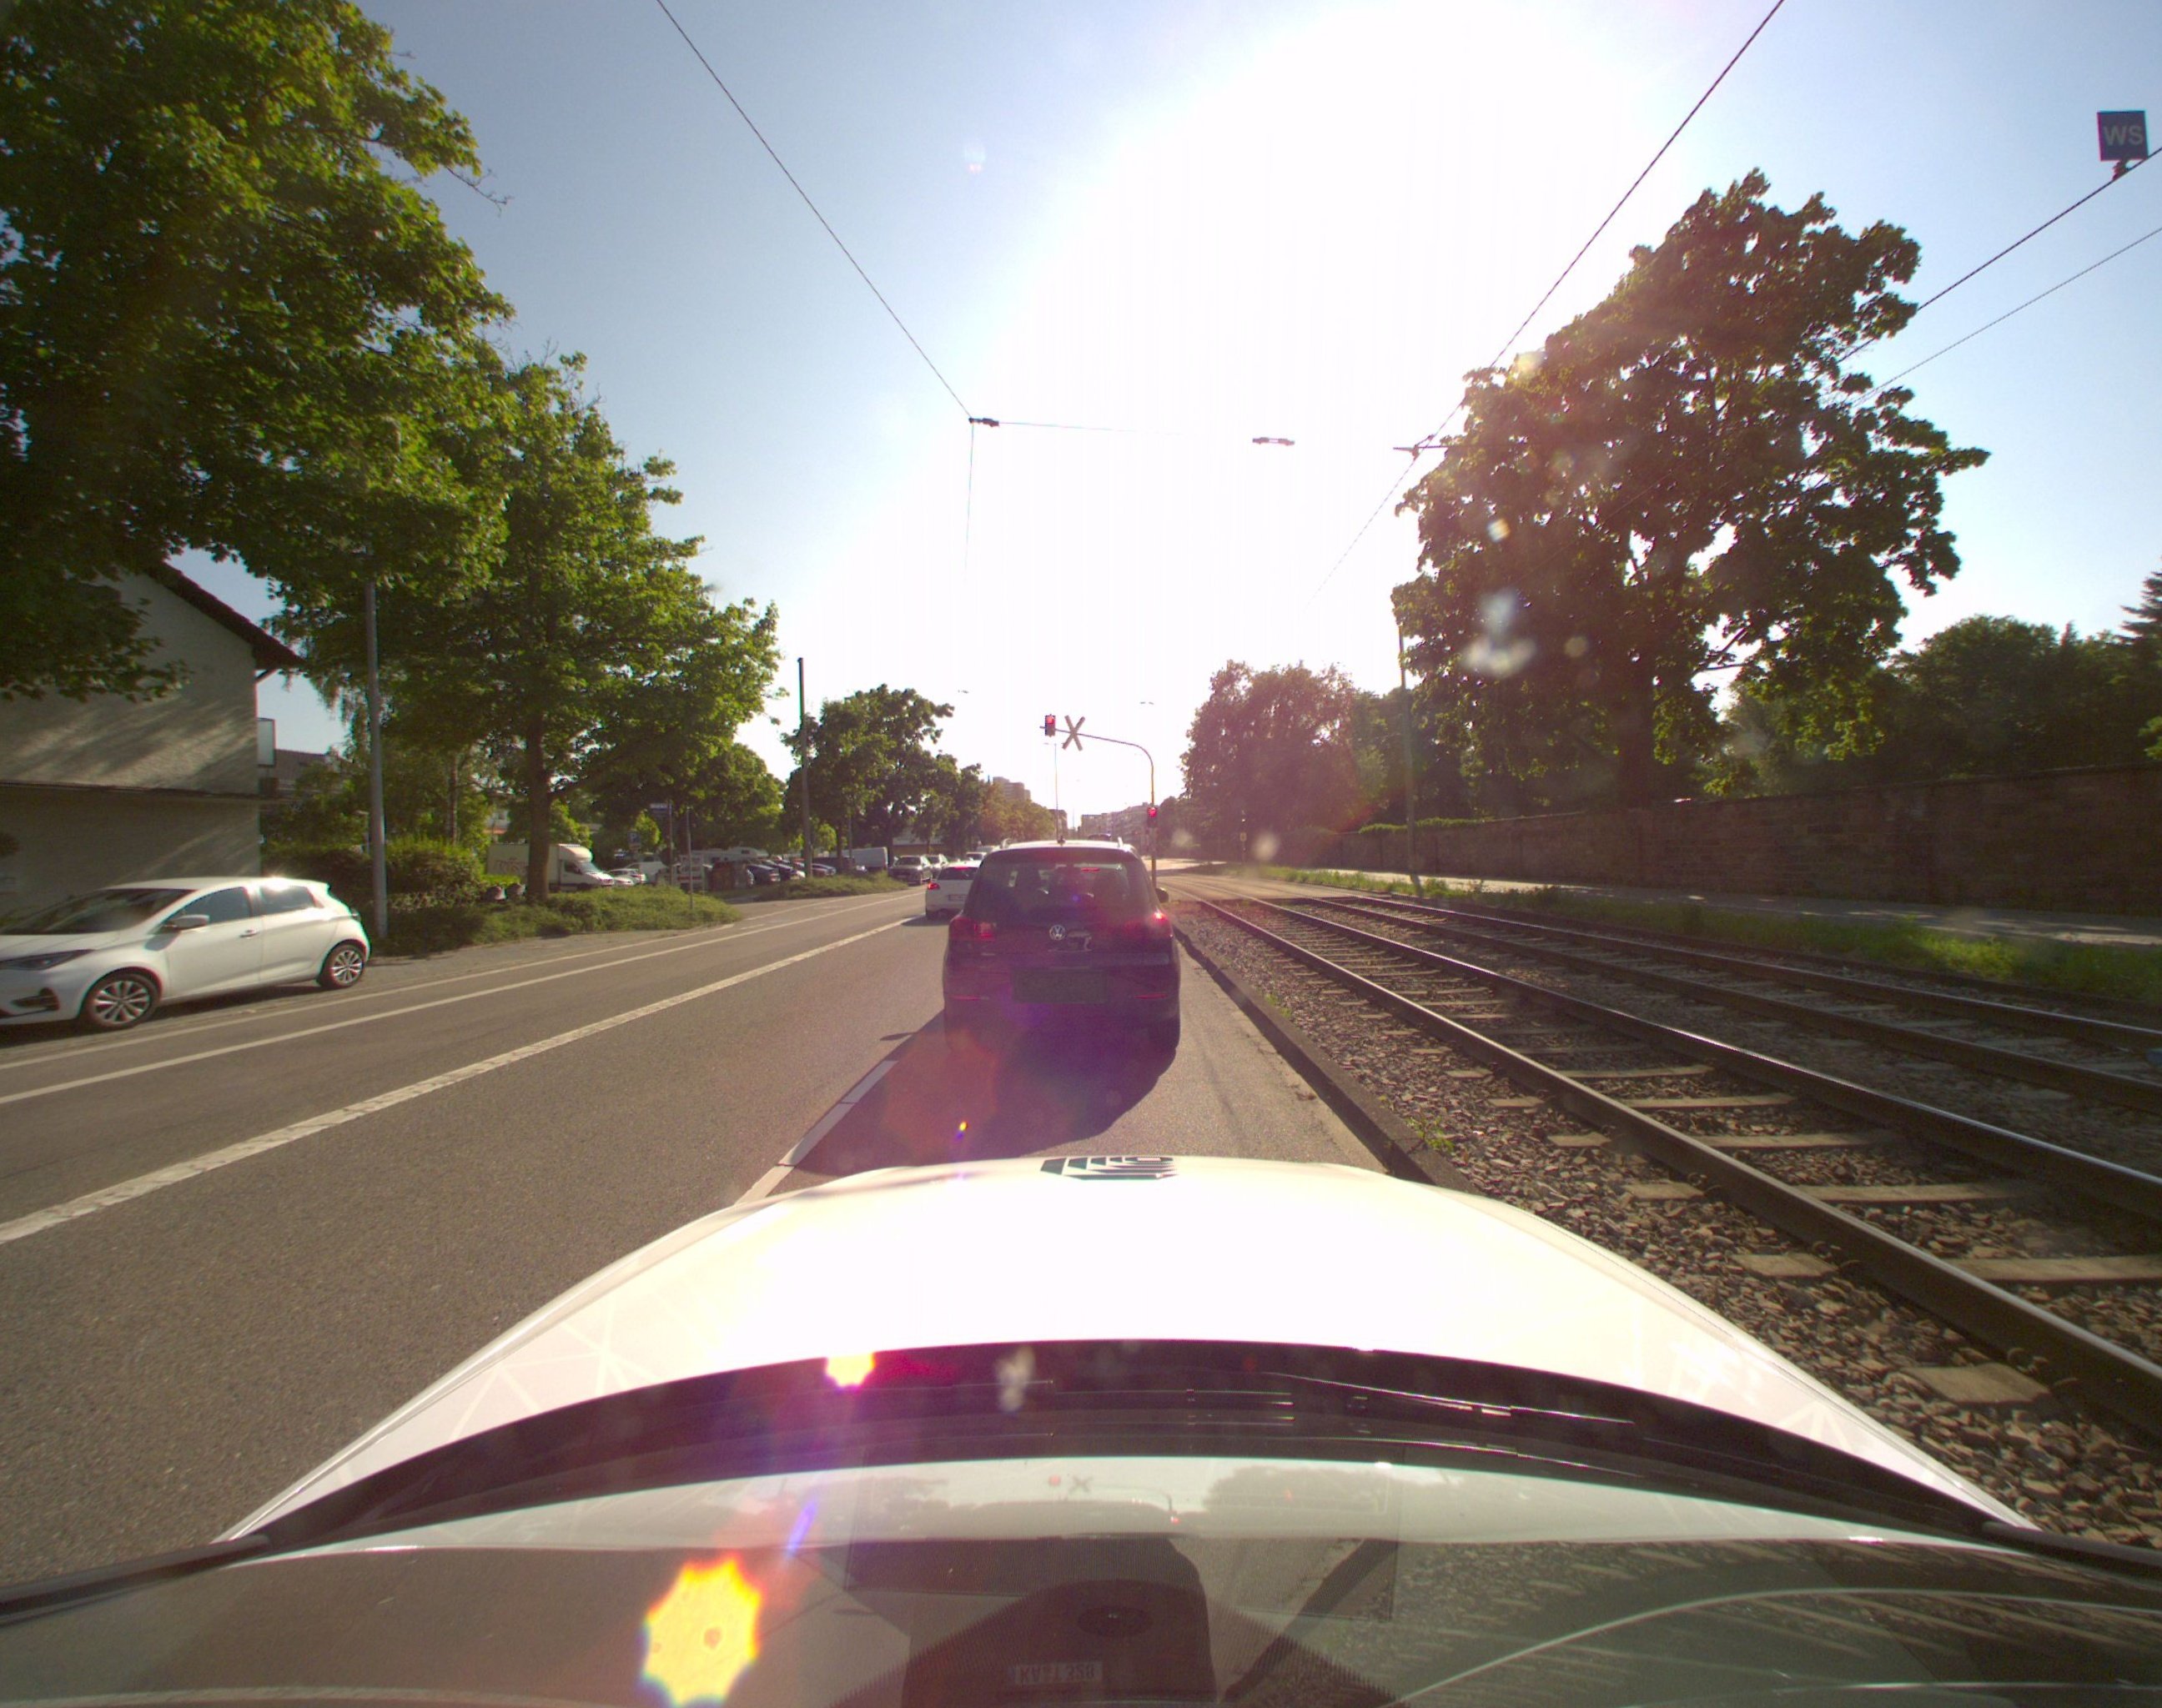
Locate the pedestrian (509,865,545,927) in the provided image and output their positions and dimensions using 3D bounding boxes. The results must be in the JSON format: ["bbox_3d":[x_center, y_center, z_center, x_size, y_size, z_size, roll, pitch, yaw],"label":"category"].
[{"bbox_3d":[-15.178,1.139,22.323,0.522,1.628,0.610,-2,0,1],"label":"pedestrian"}]

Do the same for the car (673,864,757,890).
[{"bbox_3d":[-20.783,1.310,46.349,3.976,1.307,1.736,-2,0,-2],"label":"car"}]

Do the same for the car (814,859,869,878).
[{"bbox_3d":[-19.615,1.157,66.729,3.976,1.397,1.736,-2,0,-2],"label":"car"}]

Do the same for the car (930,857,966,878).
[{"bbox_3d":[-9.603,0.957,58.996,1.724,1.389,3.738,-2,1,3],"label":"car"}]

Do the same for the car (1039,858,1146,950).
[{"bbox_3d":[0.245,0.811,14.985,1.663,1.386,4.002,-2,0,2],"label":"car"}]

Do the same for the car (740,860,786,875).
[{"bbox_3d":[-32.581,1.347,83.493,3.976,1.397,1.736,-2,0,-2],"label":"car"}]

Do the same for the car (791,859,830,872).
[{"bbox_3d":[-31.633,1.298,95.398,3.976,1.397,1.736,-2,0,-2],"label":"car"}]

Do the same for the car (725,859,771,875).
[{"bbox_3d":[-32.001,1.248,78.308,3.653,1.397,1.736,-2,0,-2],"label":"car"}]

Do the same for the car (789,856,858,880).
[{"bbox_3d":[-19.624,1.043,62.196,4.604,1.651,2.048,-2,0,-1],"label":"car"}]

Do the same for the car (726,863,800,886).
[{"bbox_3d":[-20.051,1.291,51.437,3.976,1.307,1.736,-2,0,-2],"label":"car"}]

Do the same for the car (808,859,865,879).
[{"bbox_3d":[-19.405,1.163,64.695,3.976,1.397,1.736,-2,0,-2],"label":"car"}]

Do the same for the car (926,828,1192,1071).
[{"bbox_3d":[-0.091,0.662,7.586,1.804,1.645,4.002,-1,0,2],"label":"car"}]

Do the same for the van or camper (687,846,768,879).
[{"bbox_3d":[-32.584,0.801,75.150,6.439,2.868,2.308,-1,0,2],"label":"van or camper"}]

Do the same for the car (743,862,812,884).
[{"bbox_3d":[-20.316,1.290,54.633,3.976,1.307,1.736,-2,0,-2],"label":"car"}]

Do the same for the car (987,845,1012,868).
[{"bbox_3d":[-8.326,0.269,83.691,1.724,2.268,4.648,-2,0,3],"label":"car"}]

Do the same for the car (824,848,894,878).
[{"bbox_3d":[-19.106,0.746,70.217,5.356,2.423,2.088,-2,0,1],"label":"car"}]

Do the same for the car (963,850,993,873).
[{"bbox_3d":[-8.858,0.621,70.190,1.724,1.860,4.493,-2,0,3],"label":"car"}]

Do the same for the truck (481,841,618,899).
[{"bbox_3d":[-32.583,0.961,50.027,6.941,3.242,1.987,-2,0,-1],"label":"truck"}]

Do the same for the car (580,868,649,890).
[{"bbox_3d":[-33.102,1.786,57.852,3.966,1.361,1.630,-2,0,6],"label":"car"}]

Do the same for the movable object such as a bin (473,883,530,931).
[{"bbox_3d":[-15.198,1.376,21.389,0.540,1.146,1.261,-2,0,2],"label":"movable object such as a bin"}]

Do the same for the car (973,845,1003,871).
[{"bbox_3d":[-8.735,0.334,76.867,1.856,2.347,4.989,-2,0,3],"label":"car"}]

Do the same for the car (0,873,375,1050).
[{"bbox_3d":[-10.792,1.060,9.599,1.596,1.550,3.892,0,0,-2],"label":"car"}]

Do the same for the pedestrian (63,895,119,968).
[{"bbox_3d":[-16.274,1.264,13.387,0.344,1.162,0.447,-2,0,9],"label":"pedestrian"}]

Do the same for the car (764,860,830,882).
[{"bbox_3d":[-19.789,1.183,56.839,3.976,1.397,1.736,-2,0,-2],"label":"car"}]

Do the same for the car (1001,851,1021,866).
[{"bbox_3d":[-8.196,0.522,95.341,1.724,1.694,4.004,-2,1,3],"label":"car"}]

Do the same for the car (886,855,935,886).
[{"bbox_3d":[-9.798,0.898,47.136,1.724,1.657,4.003,-2,0,3],"label":"car"}]

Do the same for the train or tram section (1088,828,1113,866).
[{"bbox_3d":[1.980,-0.677,82.046,2.318,3.570,8.904,-2,0,2],"label":"train or tram section"}]

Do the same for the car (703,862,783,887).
[{"bbox_3d":[-20.184,1.221,48.751,3.976,1.307,1.736,-2,0,-2],"label":"car"}]

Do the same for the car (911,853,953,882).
[{"bbox_3d":[-9.661,0.829,52.997,1.724,1.694,4.004,-2,1,3],"label":"car"}]

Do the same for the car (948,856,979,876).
[{"bbox_3d":[-9.323,0.917,64.876,1.724,1.450,3.738,-2,1,3],"label":"car"}]

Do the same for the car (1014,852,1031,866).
[{"bbox_3d":[-7.624,0.654,106.720,1.724,1.694,4.004,-2,1,3],"label":"car"}]

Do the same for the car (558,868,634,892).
[{"bbox_3d":[-32.718,1.736,55.037,3.976,1.457,1.736,-2,0,-2],"label":"car"}]

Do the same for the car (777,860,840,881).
[{"bbox_3d":[-19.976,1.180,59.812,3.976,1.397,1.736,-2,0,-2],"label":"car"}]

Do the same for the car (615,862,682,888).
[{"bbox_3d":[-31.875,1.528,60.145,3.981,1.728,1.623,-2,0,-6],"label":"car"}]

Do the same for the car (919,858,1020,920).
[{"bbox_3d":[-2.719,0.812,20.742,1.858,1.348,4.002,-1,0,2],"label":"car"}]
